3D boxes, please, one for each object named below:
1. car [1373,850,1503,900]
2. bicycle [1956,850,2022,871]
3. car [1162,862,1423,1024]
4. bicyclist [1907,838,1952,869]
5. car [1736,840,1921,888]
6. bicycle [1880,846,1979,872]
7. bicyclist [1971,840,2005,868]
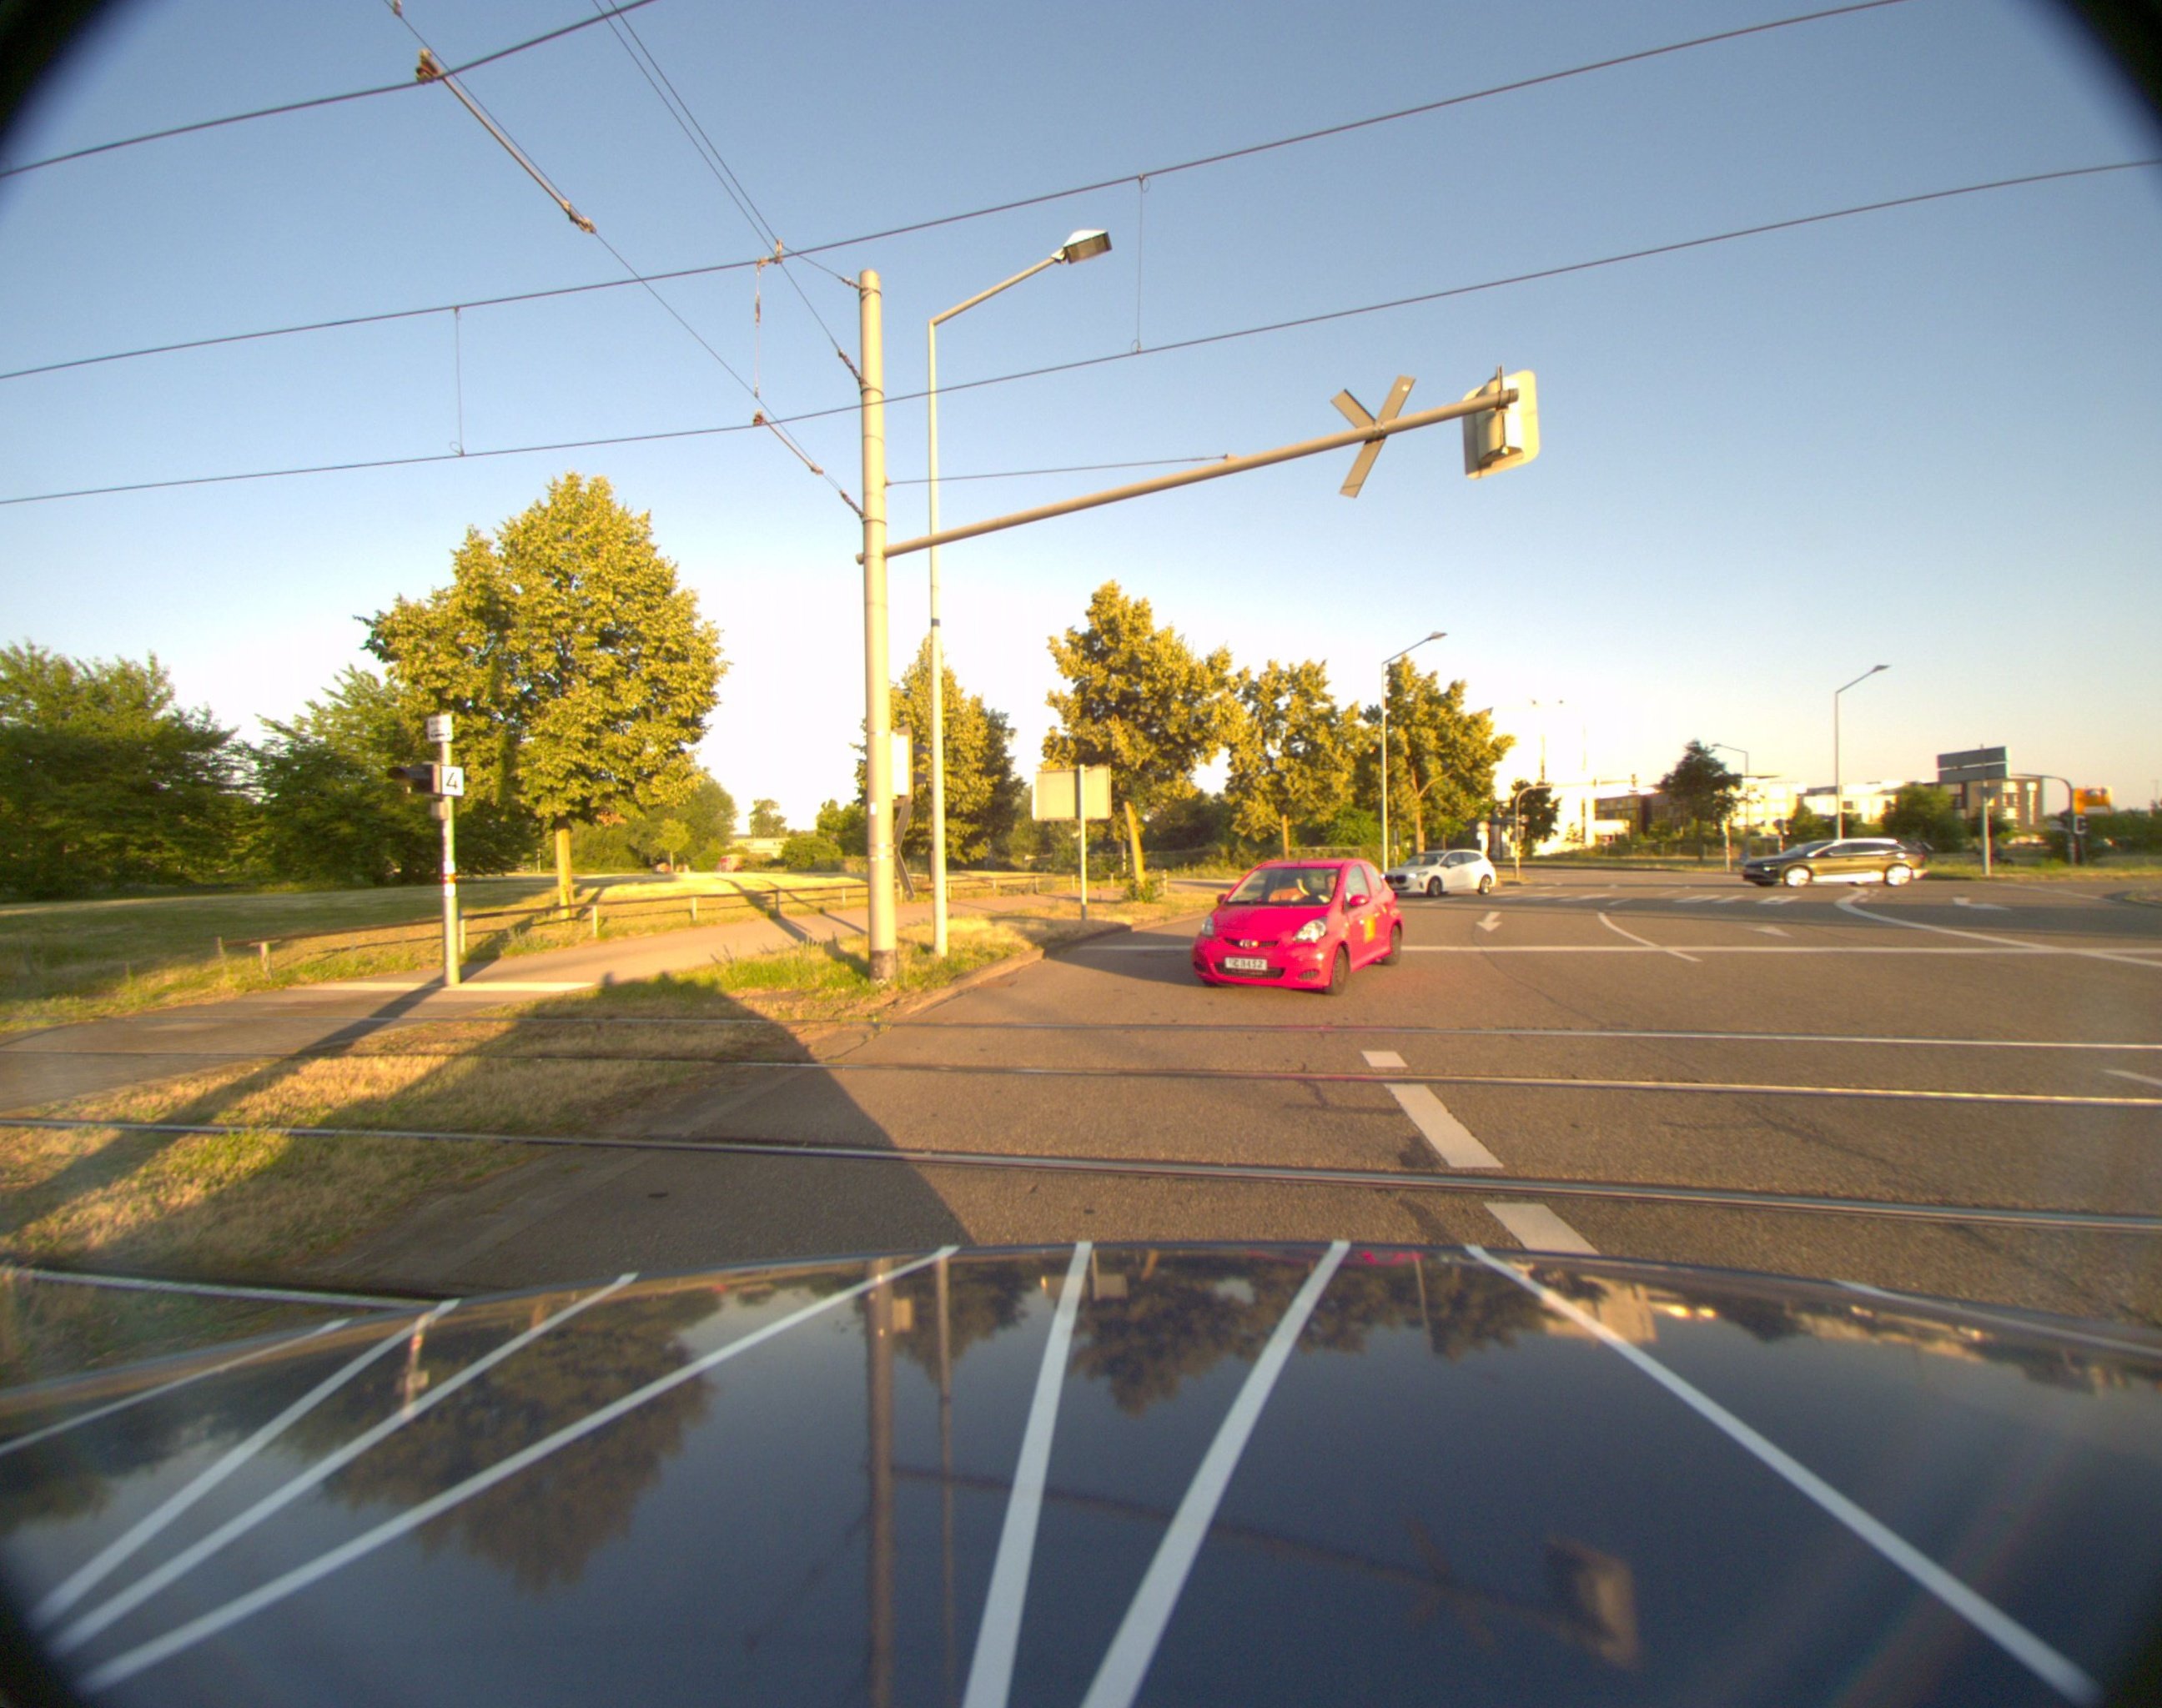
[{"bbox_3d":[12.187,0.684,25.941,4.220,1.549,1.756,-1,0,-26],"label":"car"},{"bbox_3d":[52.640,0.379,44.068,2.323,1.172,0.812,-1,1,22],"label":"bicycle"},{"bbox_3d":[2.836,0.887,9.437,1.690,1.413,4.219,-1,1,37],"label":"car"},{"bbox_3d":[47.557,-0.033,42.622,1.413,1.739,1.126,0,1,32],"label":"bicyclist"},{"bbox_3d":[25.758,0.360,26.376,4.206,1.549,1.831,-1,0,17],"label":"car"},{"bbox_3d":[47.521,0.294,42.645,3.529,1.387,1.126,-1,1,32],"label":"bicycle"},{"bbox_3d":[52.608,0.012,44.063,0.998,1.623,0.812,-1,1,22],"label":"bicyclist"}]
